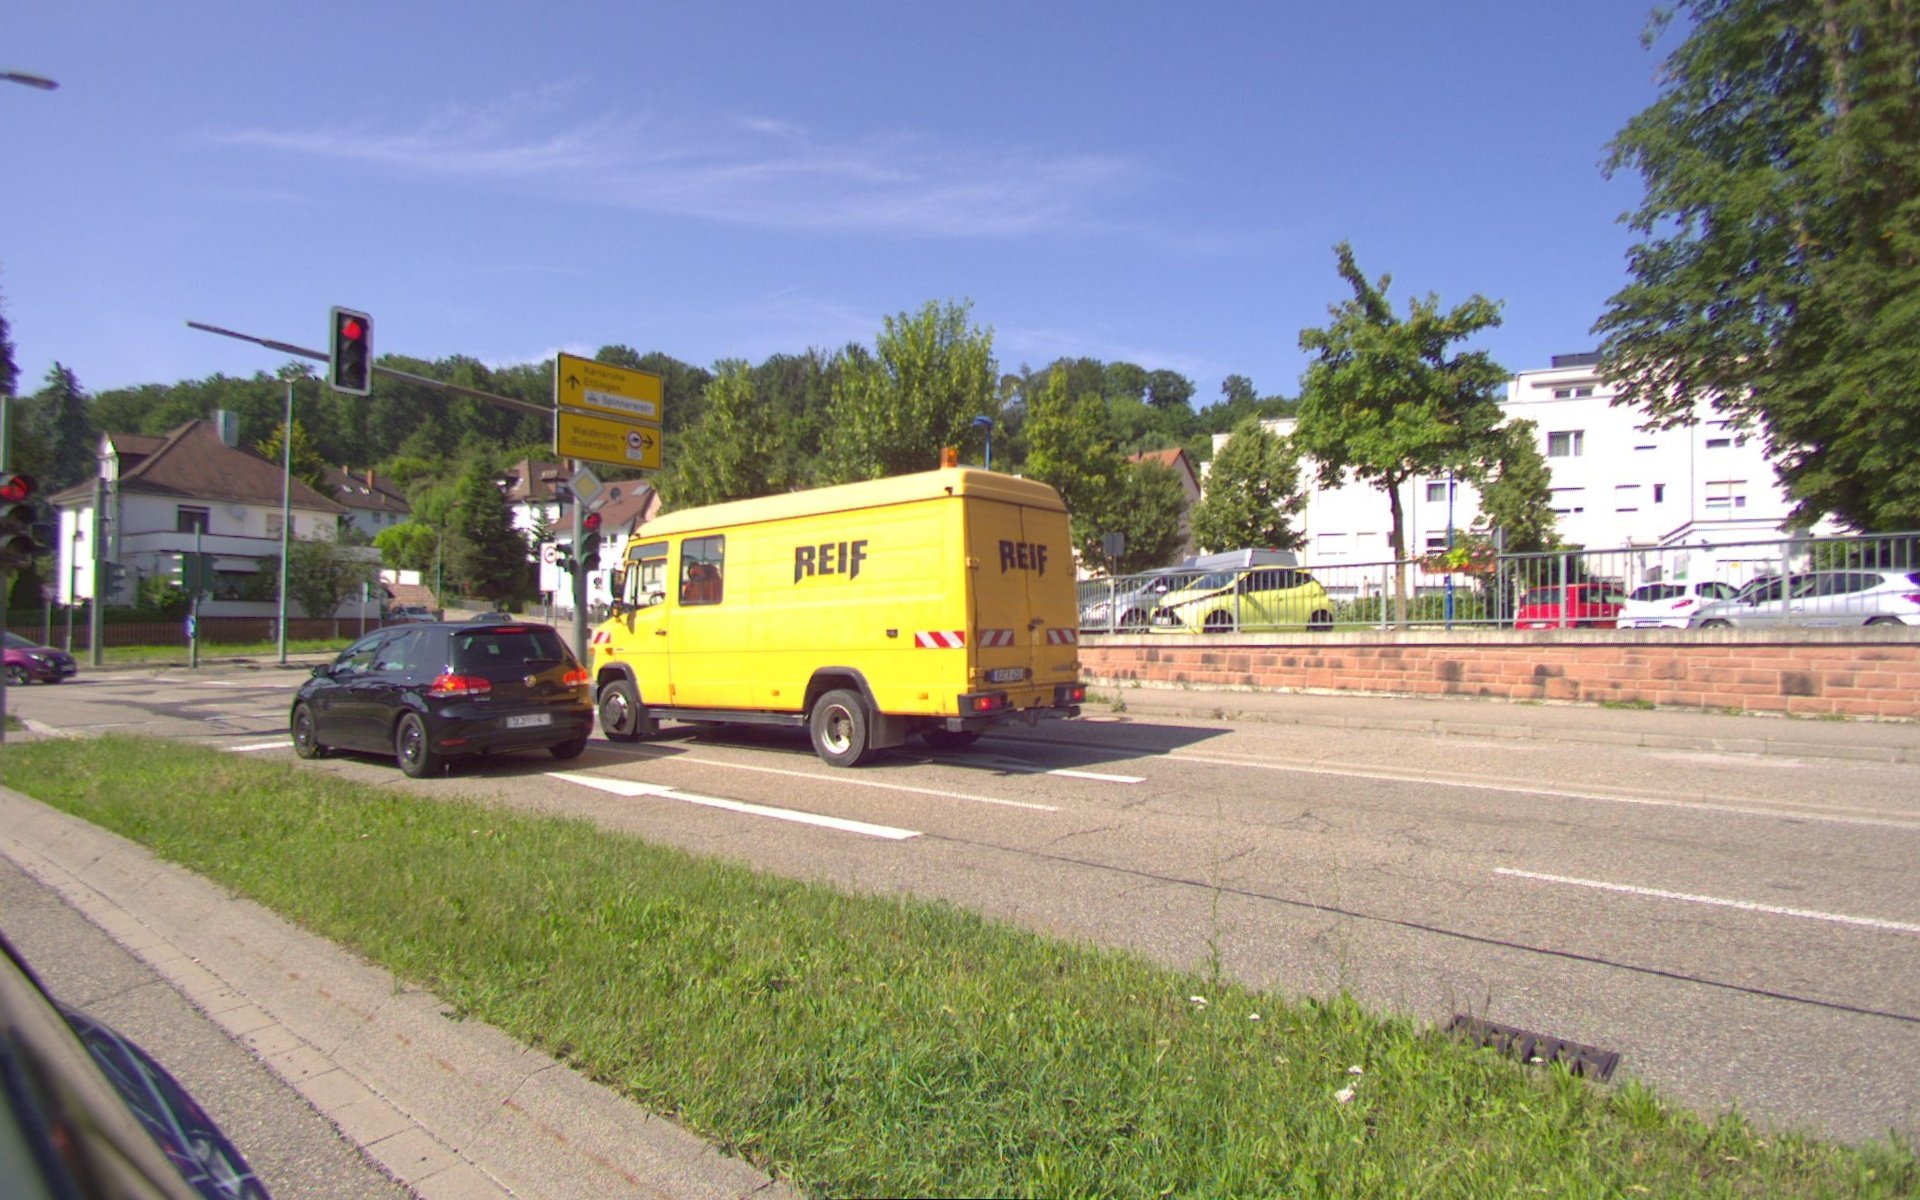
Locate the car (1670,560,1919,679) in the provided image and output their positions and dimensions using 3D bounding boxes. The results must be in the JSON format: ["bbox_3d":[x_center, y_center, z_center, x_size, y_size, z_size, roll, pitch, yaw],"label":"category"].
[{"bbox_3d":[14.877,0.330,17.349,1.888,1.803,4.013,0,-1,-21],"label":"car"}]

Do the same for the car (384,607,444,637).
[{"bbox_3d":[-33.085,1.339,61.257,3.999,1.649,1.914,-3,-1,42],"label":"car"}]

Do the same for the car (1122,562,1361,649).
[{"bbox_3d":[5.325,0.091,19.219,3.931,1.392,1.920,-2,0,-21],"label":"car"}]

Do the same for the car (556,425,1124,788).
[{"bbox_3d":[-1.629,0.092,11.404,6.456,3.033,2.444,-1,0,38],"label":"car"}]

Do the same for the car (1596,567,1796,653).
[{"bbox_3d":[16.786,0.220,23.099,3.931,1.714,1.920,-3,-1,-24],"label":"car"}]

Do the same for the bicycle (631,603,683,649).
[{"bbox_3d":[-9.315,0.799,31.078,1.756,1.265,0.612,-5,1,42],"label":"bicycle"}]

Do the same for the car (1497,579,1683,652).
[{"bbox_3d":[15.753,0.376,25.331,3.931,1.571,1.920,-2,0,-21],"label":"car"}]

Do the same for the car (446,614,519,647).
[{"bbox_3d":[-23.686,1.512,50.395,1.949,1.495,4.759,-2,-1,-8],"label":"car"}]

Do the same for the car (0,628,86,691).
[{"bbox_3d":[-24.982,1.526,25.726,3.891,1.545,1.666,-1,-1,-10],"label":"car"}]

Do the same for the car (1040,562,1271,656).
[{"bbox_3d":[4.167,0.150,21.665,4.339,1.709,2.064,-3,1,-21],"label":"car"}]

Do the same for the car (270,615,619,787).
[{"bbox_3d":[-5.509,0.924,10.634,4.037,1.474,1.729,-2,-2,38],"label":"car"}]

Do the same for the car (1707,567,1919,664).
[{"bbox_3d":[17.347,0.270,20.194,3.931,1.684,2.006,-2,0,-19],"label":"car"}]

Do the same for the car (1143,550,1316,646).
[{"bbox_3d":[7.720,-0.011,29.800,2.064,2.462,5.802,-2,0,-17],"label":"car"}]
